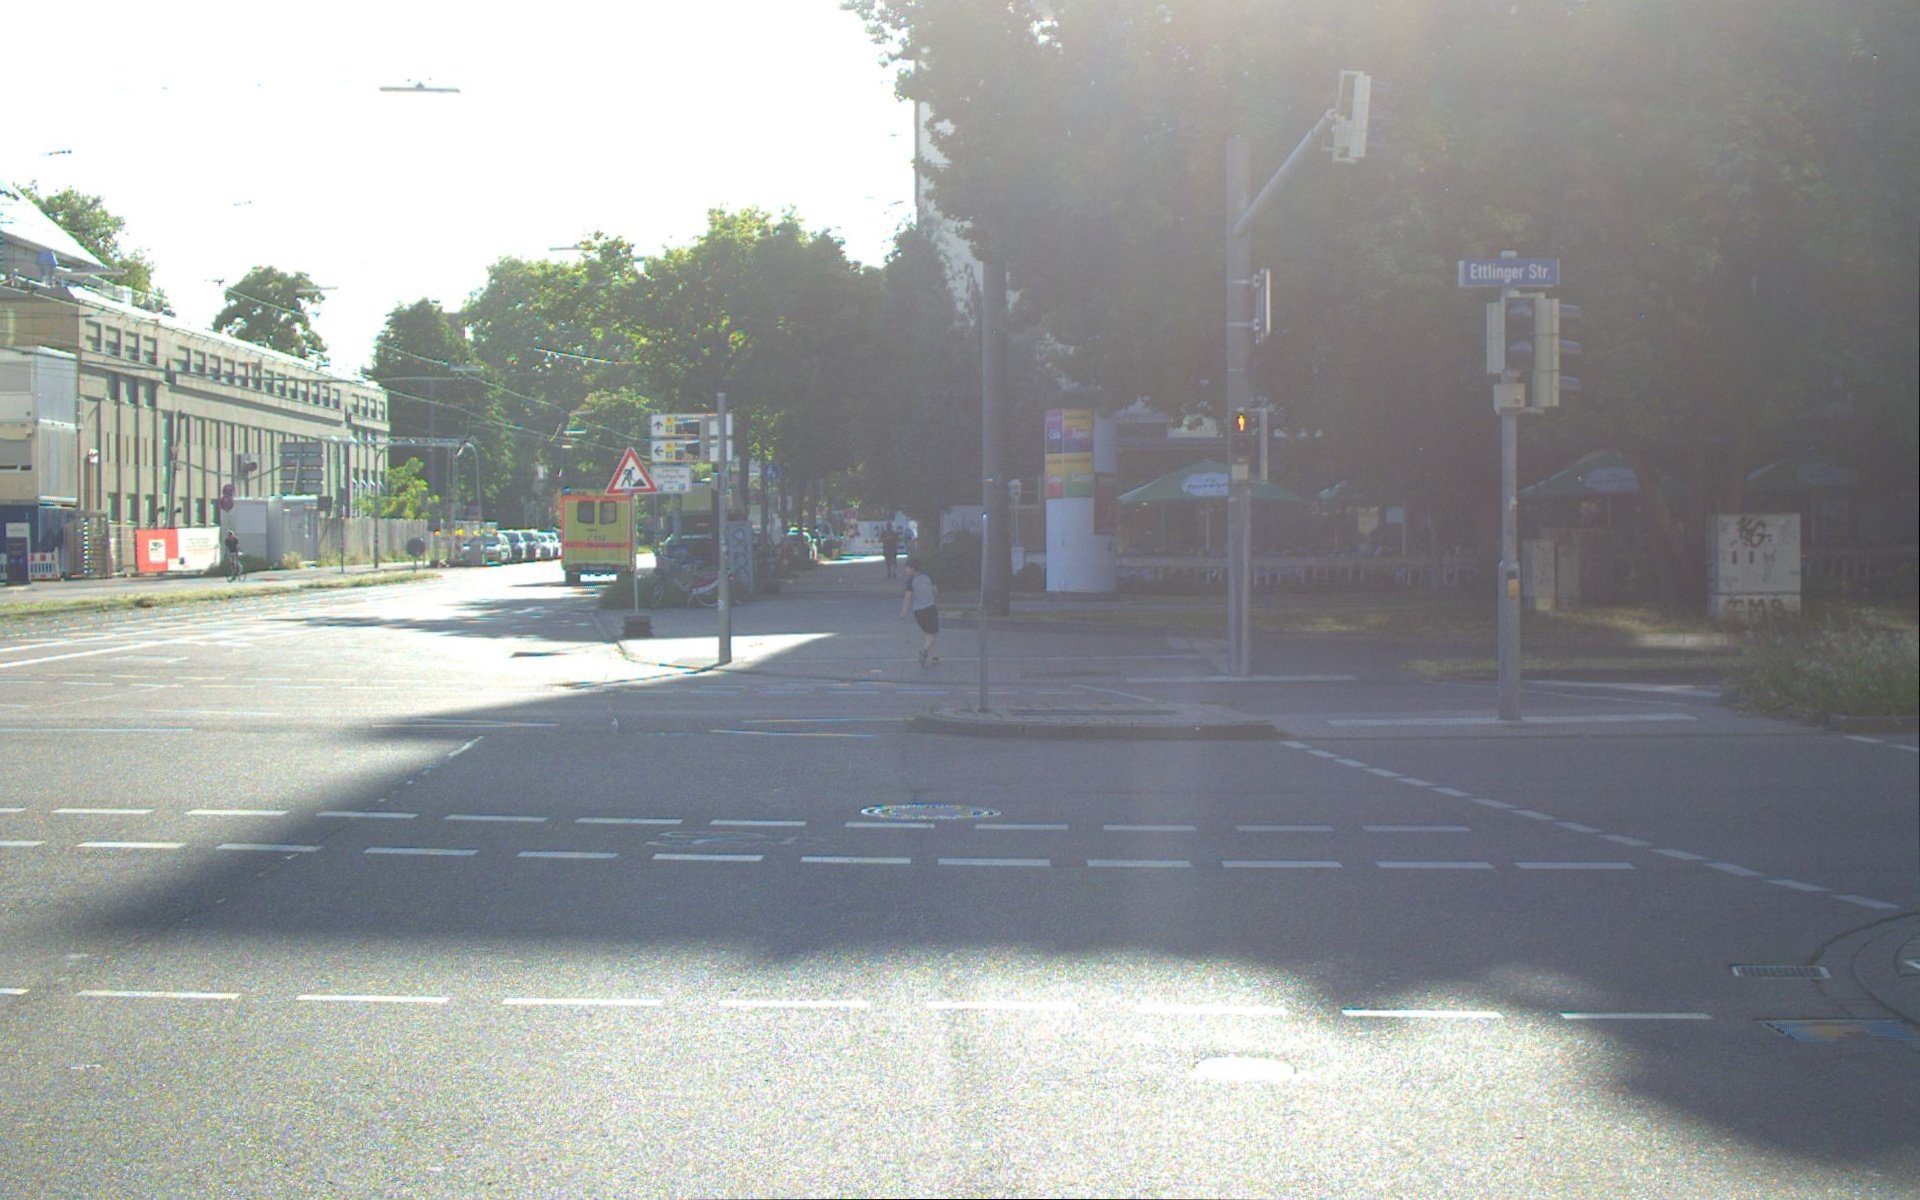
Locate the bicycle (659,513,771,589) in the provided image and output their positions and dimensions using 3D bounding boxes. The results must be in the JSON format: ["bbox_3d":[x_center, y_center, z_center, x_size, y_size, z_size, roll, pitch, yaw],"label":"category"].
[{"bbox_3d":[-5.795,-1.161,81.341,2.547,1.737,1.037,1,0,0],"label":"bicycle"}]

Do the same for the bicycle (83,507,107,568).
[{"bbox_3d":[-32.766,-2.354,130.241,0.571,2.288,1.422,0,1,-2],"label":"bicycle"}]

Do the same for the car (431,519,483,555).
[{"bbox_3d":[-22.860,-2.852,156.405,1.894,1.601,4.501,-1,1,-2],"label":"car"}]

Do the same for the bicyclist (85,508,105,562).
[{"bbox_3d":[-32.766,-2.469,130.211,0.571,2.017,0.762,0,1,-2],"label":"bicyclist"}]

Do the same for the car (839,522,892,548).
[{"bbox_3d":[-5.866,-4.026,213.441,3.214,1.583,1.446,1,0,-4],"label":"car"}]

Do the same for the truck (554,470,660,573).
[{"bbox_3d":[-10.620,-2.346,103.918,2.716,3.005,6.490,0,1,-2],"label":"truck"}]

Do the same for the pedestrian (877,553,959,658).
[{"bbox_3d":[-0.528,0.067,43.577,0.993,1.313,0.767,0,1,2],"label":"pedestrian"}]

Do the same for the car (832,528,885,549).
[{"bbox_3d":[-6.237,-3.786,211.232,3.217,1.259,1.373,1,0,-1],"label":"car"}]
